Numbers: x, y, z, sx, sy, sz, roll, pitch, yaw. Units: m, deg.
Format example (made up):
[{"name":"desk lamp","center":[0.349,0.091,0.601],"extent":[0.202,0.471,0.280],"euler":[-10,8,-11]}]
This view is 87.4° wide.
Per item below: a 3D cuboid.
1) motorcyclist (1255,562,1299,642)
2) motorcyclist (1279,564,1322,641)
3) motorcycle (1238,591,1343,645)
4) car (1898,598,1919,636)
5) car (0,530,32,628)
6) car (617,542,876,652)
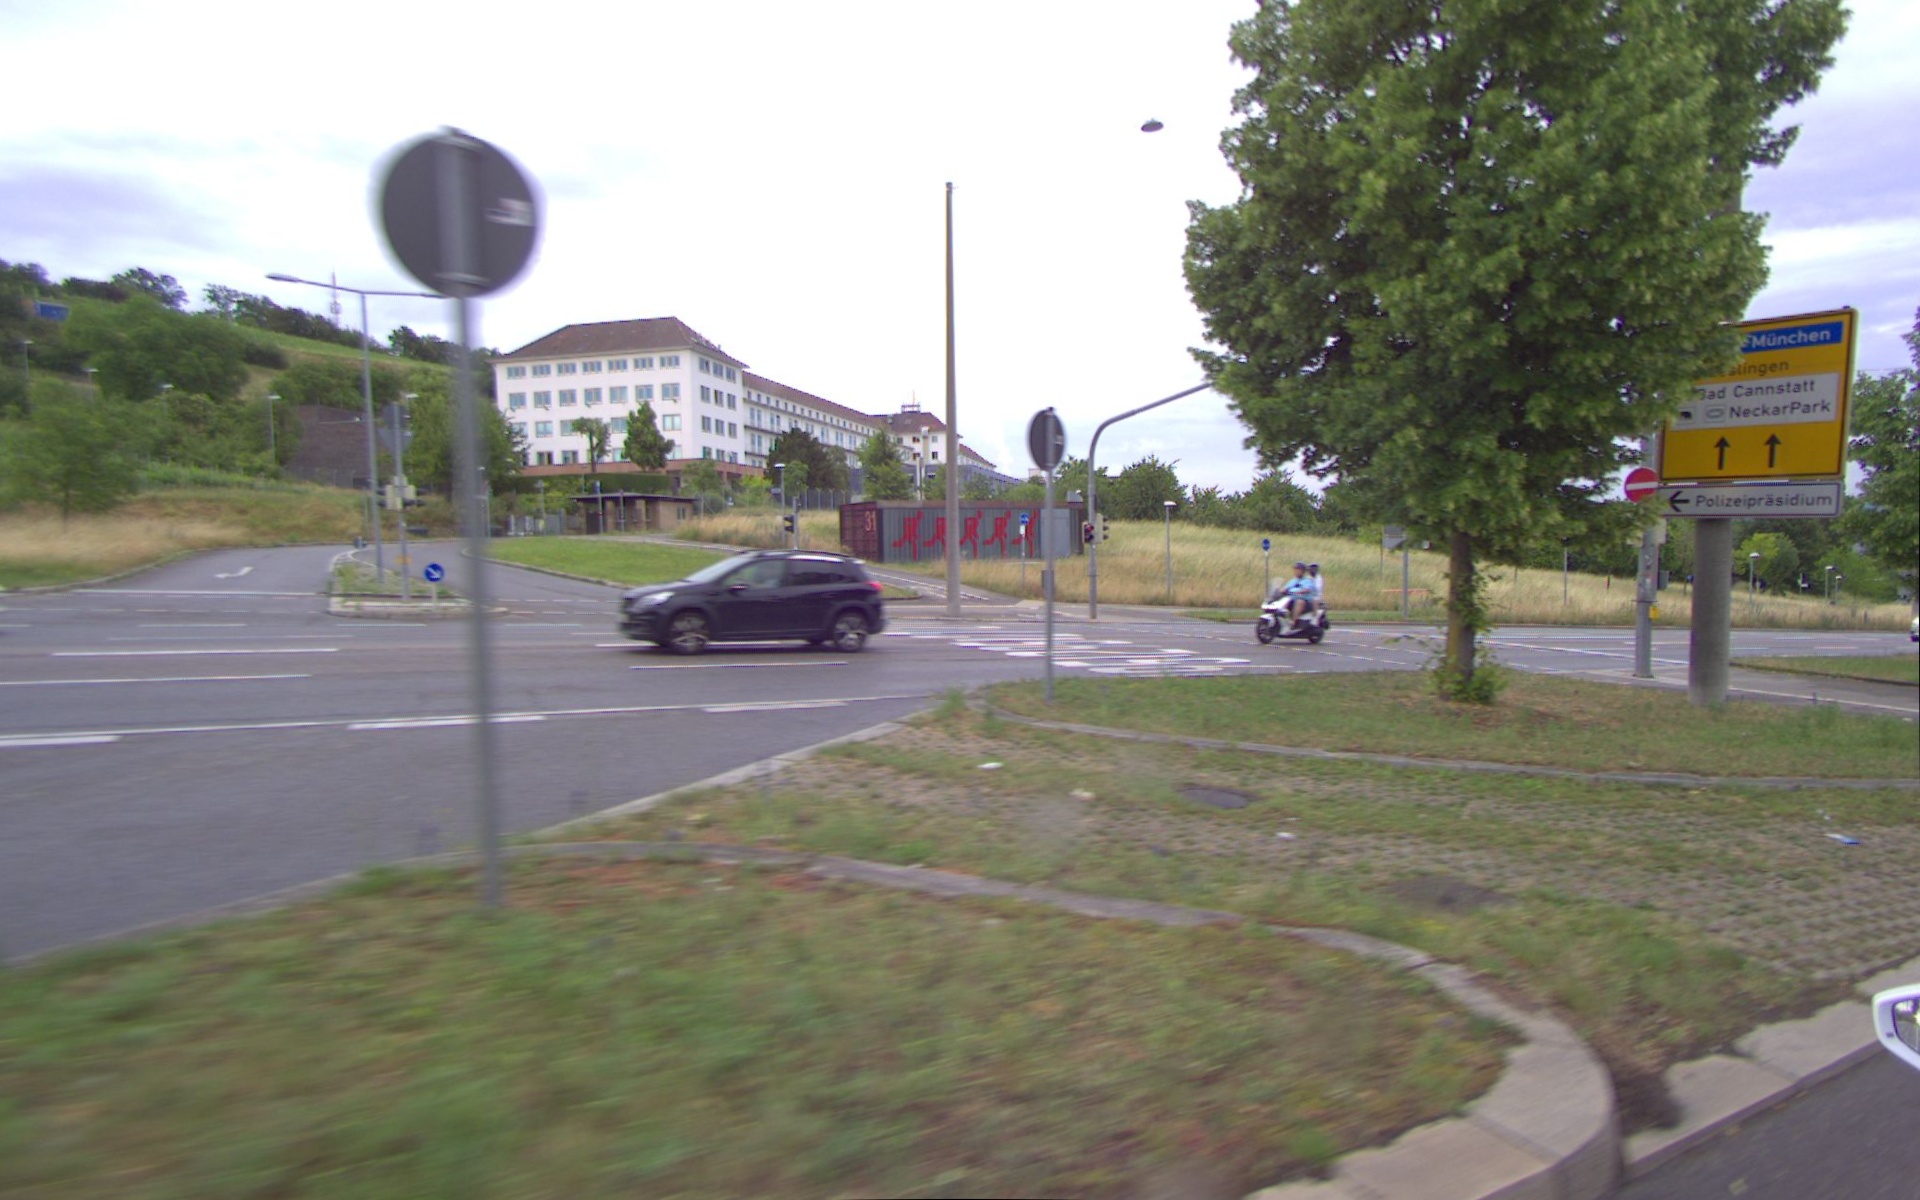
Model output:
[{"name":"motorcyclist","center":[6.561,0.033,20.816],"extent":[0.636,1.618,0.579],"euler":[-1,3,-31]},{"name":"motorcyclist","center":[7.180,0.039,21.171],"extent":[0.575,1.603,0.609],"euler":[-1,3,-31]},{"name":"motorcycle","center":[6.945,0.355,21.075],"extent":[2.473,1.064,0.613],"euler":[-1,3,-31]},{"name":"car","center":[38.372,0.701,39.083],"extent":[3.878,1.408,1.532],"euler":[1,2,-28]},{"name":"car","center":[-16.465,-0.329,14.827],"extent":[3.729,1.482,1.643],"euler":[-1,3,-30]},{"name":"car","center":[-3.274,-0.032,15.529],"extent":[3.618,1.524,1.531],"euler":[1,2,-30]}]
